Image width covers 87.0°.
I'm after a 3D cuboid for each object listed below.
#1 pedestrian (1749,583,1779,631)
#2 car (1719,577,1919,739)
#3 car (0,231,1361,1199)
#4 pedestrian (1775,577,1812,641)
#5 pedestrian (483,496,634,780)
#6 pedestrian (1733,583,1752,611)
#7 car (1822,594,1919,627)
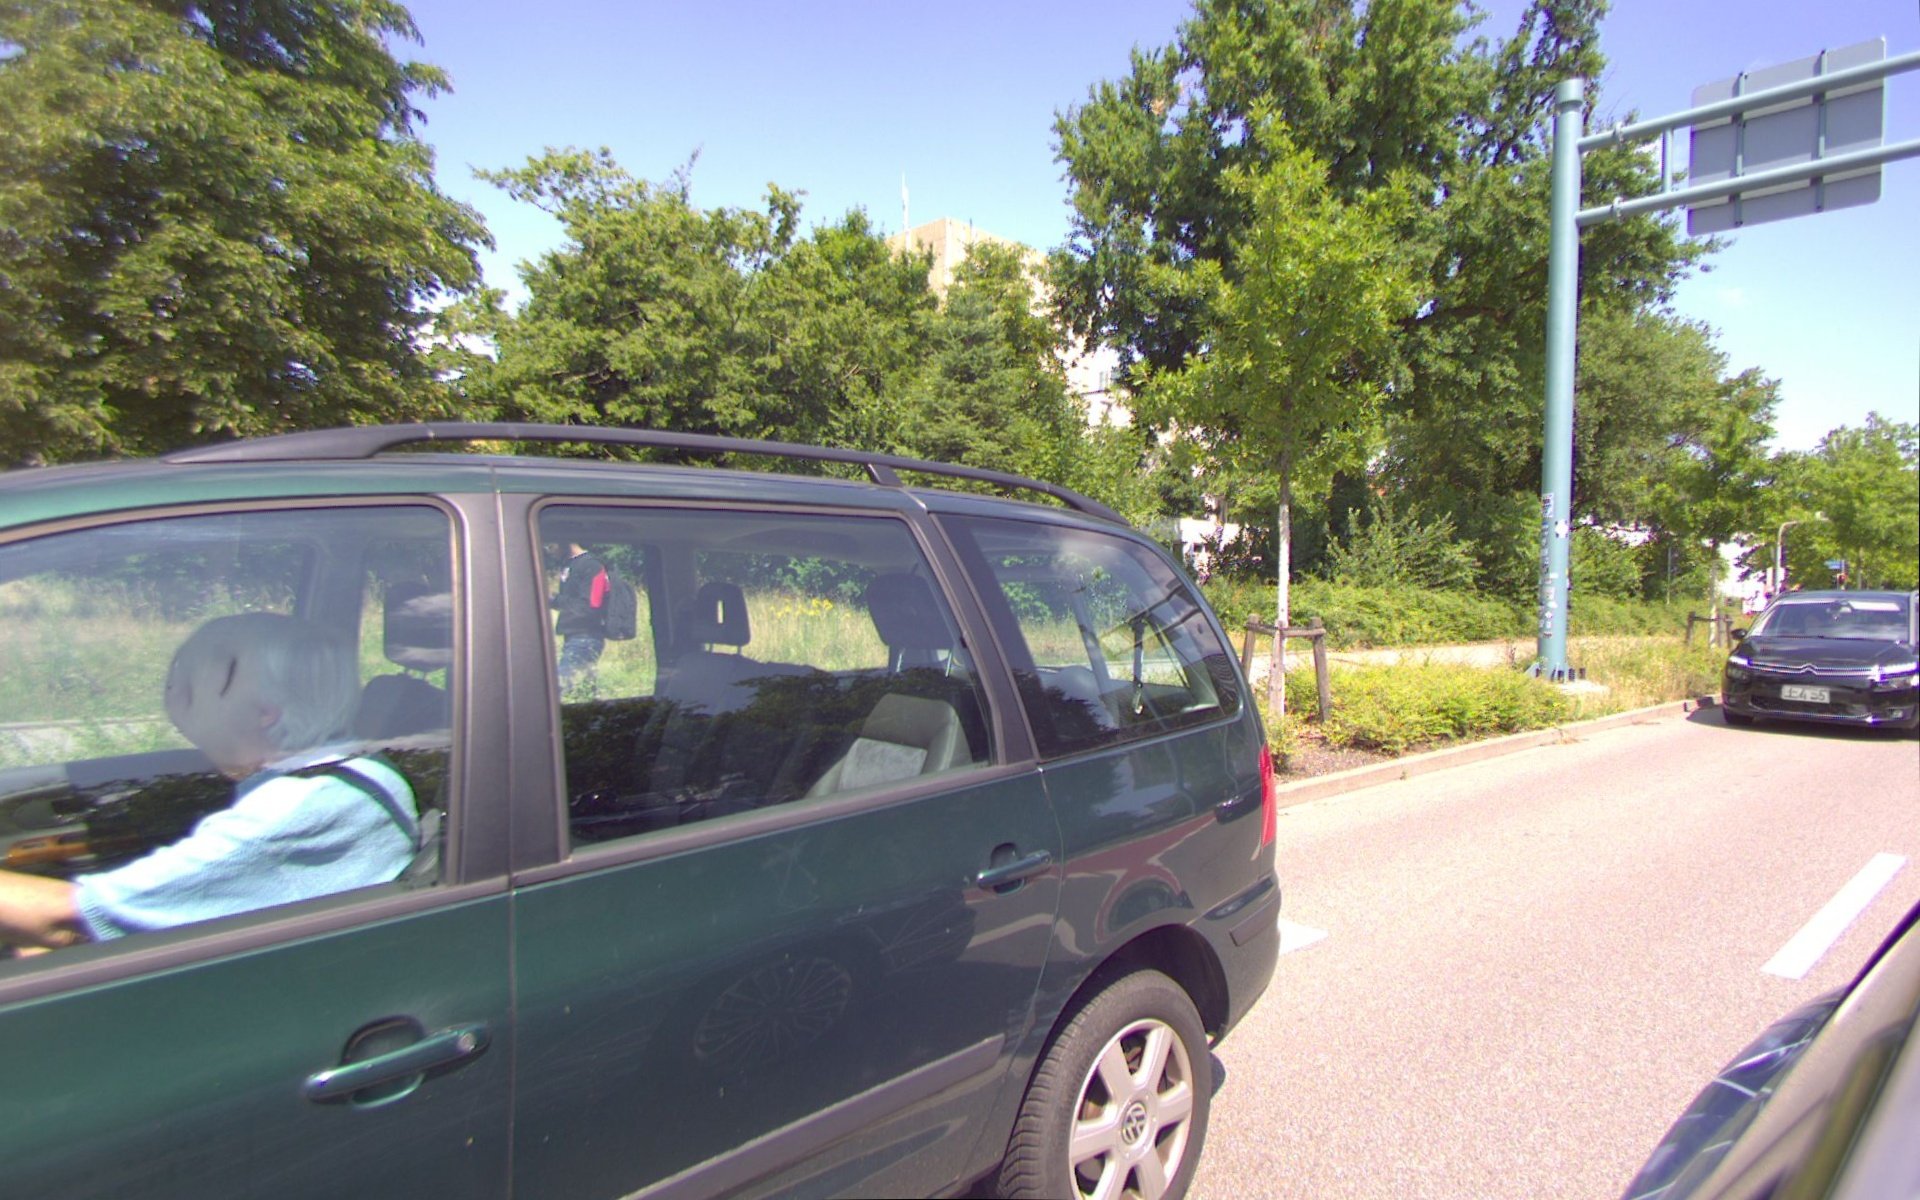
[{"bbox_3d":[35.363,0.281,44.523,0.838,2.063,0.893,1,0,27],"label":"pedestrian"},{"bbox_3d":[10.832,0.597,12.185,4.400,1.628,1.815,1,-1,-41],"label":"car"},{"bbox_3d":[-1.136,0.522,1.962,4.315,1.737,1.804,0,-1,-41],"label":"car"},{"bbox_3d":[23.935,0.257,29.075,0.870,1.787,0.639,1,1,-40],"label":"pedestrian"},{"bbox_3d":[-2.629,0.224,6.596,0.799,1.705,0.762,1,1,-29],"label":"pedestrian"},{"bbox_3d":[45.649,-0.191,59.040,0.755,1.630,0.763,1,1,-44],"label":"pedestrian"},{"bbox_3d":[47.048,0.542,51.728,4.464,1.628,1.789,0,-1,44],"label":"car"}]
